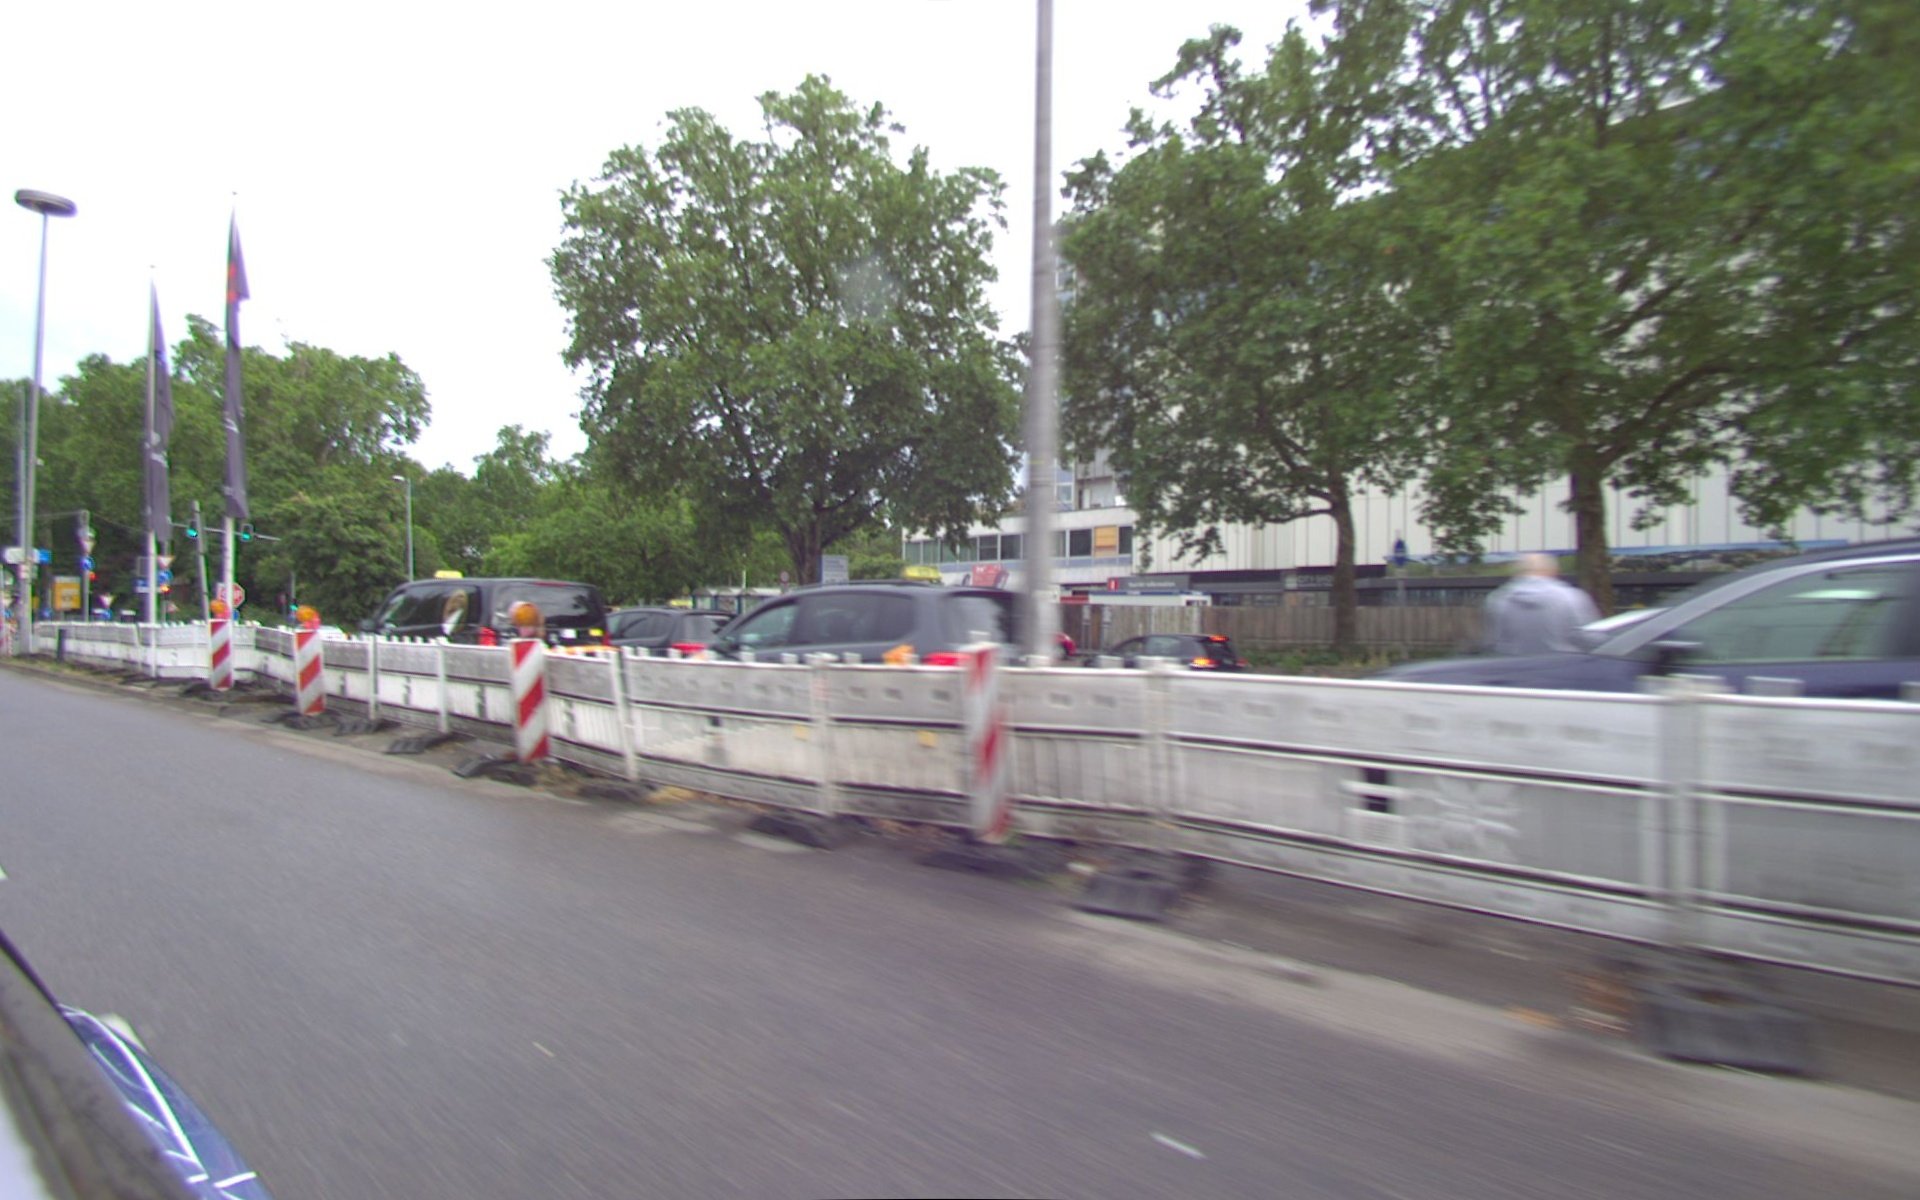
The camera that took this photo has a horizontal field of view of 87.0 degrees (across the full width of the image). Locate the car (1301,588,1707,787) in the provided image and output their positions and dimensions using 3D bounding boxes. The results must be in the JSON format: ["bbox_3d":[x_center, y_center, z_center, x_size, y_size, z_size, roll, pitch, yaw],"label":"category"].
[{"bbox_3d":[6.554,0.955,12.407,3.998,2.029,1.973,-3,-2,41],"label":"car"}]

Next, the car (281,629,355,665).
[{"bbox_3d":[-31.449,2.295,49.501,4.819,1.644,1.971,-3,-2,44],"label":"car"}]

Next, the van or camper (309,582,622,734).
[{"bbox_3d":[-7.296,0.821,14.658,5.386,1.833,1.926,-2,-5,39],"label":"van or camper"}]

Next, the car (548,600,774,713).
[{"bbox_3d":[-5.253,0.945,17.479,4.302,1.715,1.869,-3,-3,44],"label":"car"}]

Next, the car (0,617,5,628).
[{"bbox_3d":[-181.127,4.190,190.290,3.998,2.029,1.973,-3,-2,41],"label":"car"}]

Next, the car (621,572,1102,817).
[{"bbox_3d":[-1.181,0.805,9.771,4.811,1.784,1.971,-3,-4,44],"label":"car"}]

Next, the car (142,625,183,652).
[{"bbox_3d":[-49.259,2.399,62.466,1.658,1.554,3.176,2,-4,-44],"label":"car"}]

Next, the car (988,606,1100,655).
[{"bbox_3d":[3.006,1.076,36.666,3.686,1.554,1.855,-2,0,-7],"label":"car"}]

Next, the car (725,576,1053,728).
[{"bbox_3d":[-1.093,0.662,13.644,4.421,1.715,1.870,-3,-2,43],"label":"car"}]

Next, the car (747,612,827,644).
[{"bbox_3d":[-11.329,1.837,66.287,4.781,2.029,2.029,-1,-1,10],"label":"car"}]

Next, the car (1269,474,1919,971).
[{"bbox_3d":[4.107,0.481,4.561,4.812,1.831,1.971,-3,-4,44],"label":"car"}]

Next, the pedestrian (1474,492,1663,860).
[{"bbox_3d":[3.723,0.429,6.187,0.821,2.029,0.866,-2,-2,40],"label":"pedestrian"}]

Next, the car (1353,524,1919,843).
[{"bbox_3d":[5.575,0.488,7.438,4.566,1.865,1.894,-3,3,43],"label":"car"}]
